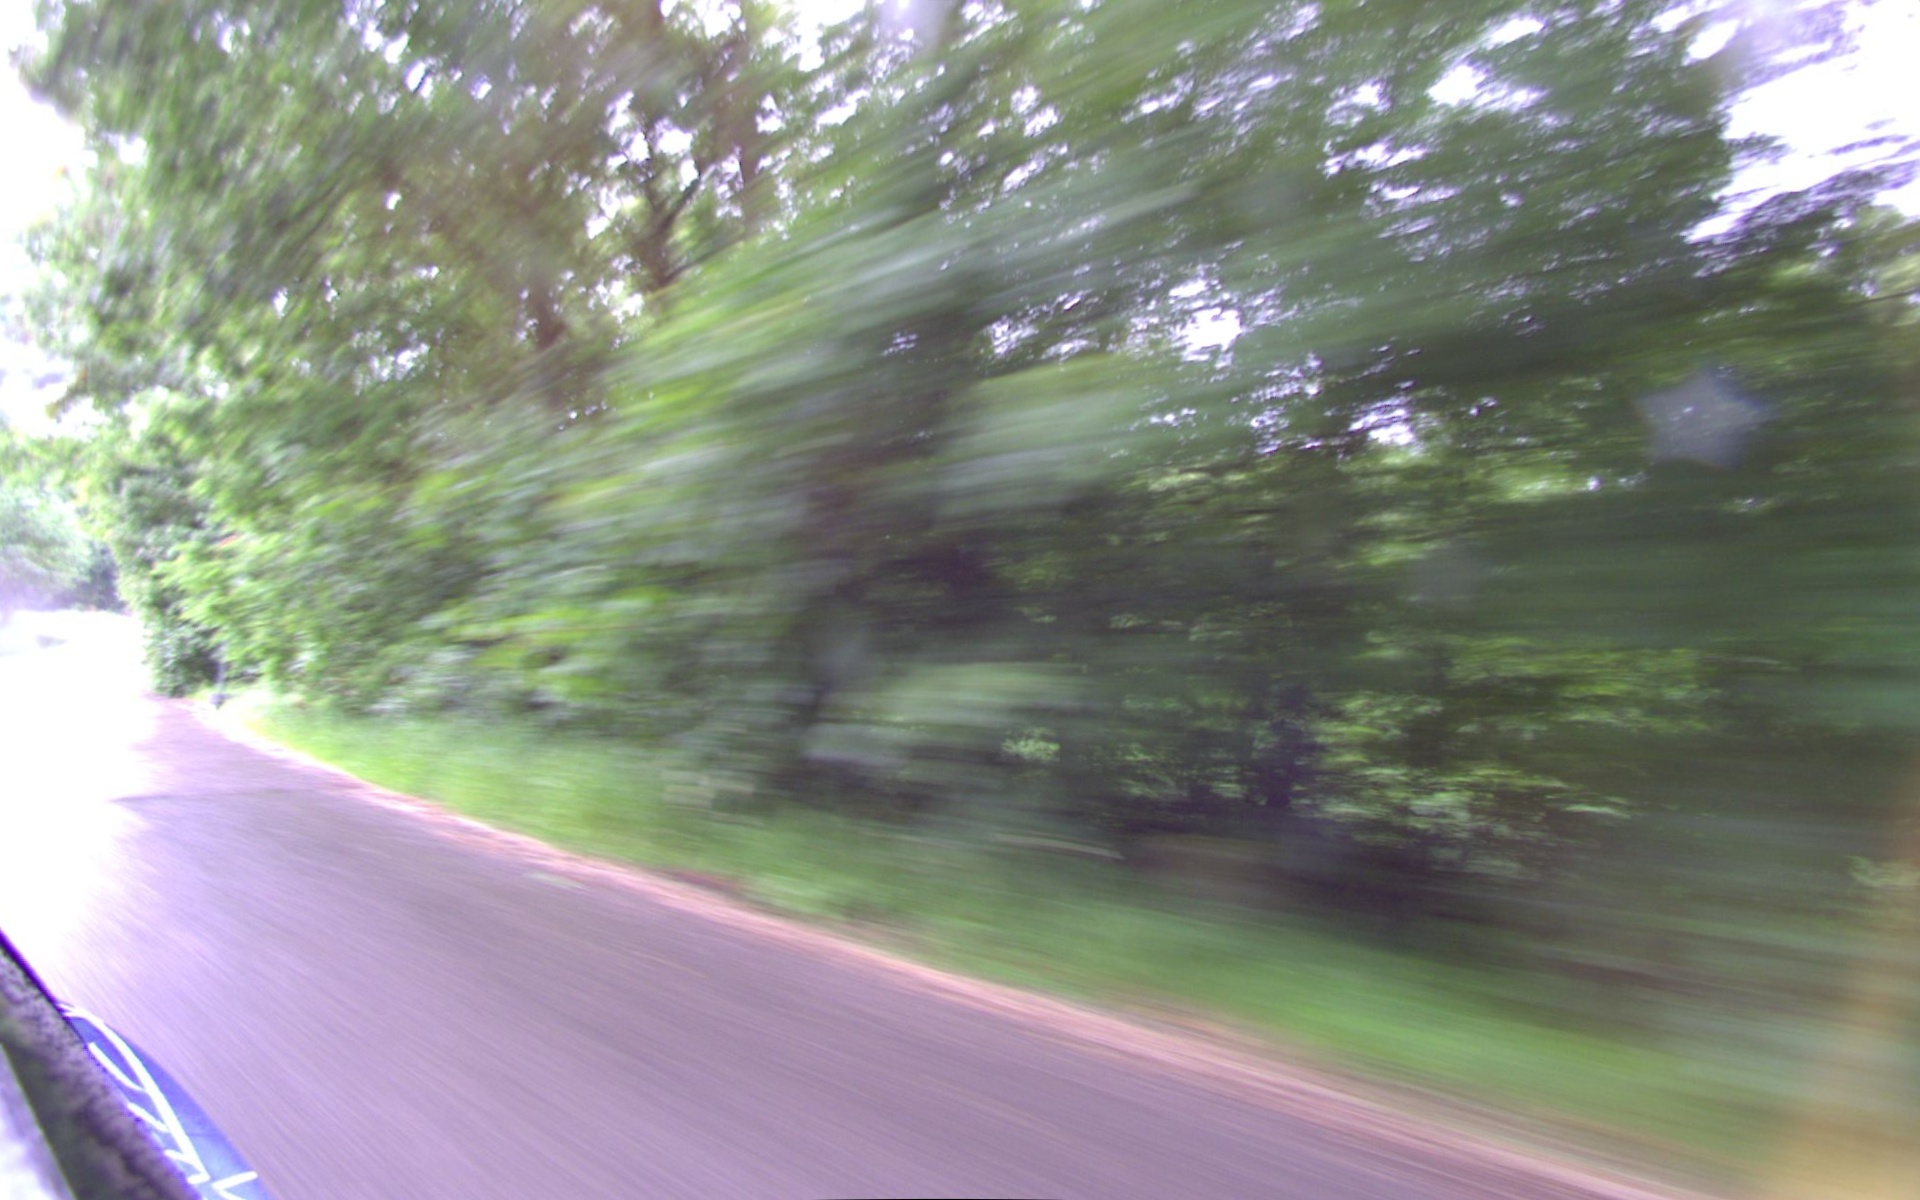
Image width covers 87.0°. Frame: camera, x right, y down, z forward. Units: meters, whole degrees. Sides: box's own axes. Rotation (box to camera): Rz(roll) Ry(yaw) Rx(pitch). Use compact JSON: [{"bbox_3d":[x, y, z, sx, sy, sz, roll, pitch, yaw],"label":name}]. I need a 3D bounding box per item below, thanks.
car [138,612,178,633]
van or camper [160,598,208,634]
[{"bbox_3d":[-65.413,1.816,82.521,2.073,1.592,4.561,4,-3,-44],"label":"car"},{"bbox_3d":[-57.972,1.177,75.568,2.171,2.535,4.840,4,-3,-44],"label":"van or camper"}]
